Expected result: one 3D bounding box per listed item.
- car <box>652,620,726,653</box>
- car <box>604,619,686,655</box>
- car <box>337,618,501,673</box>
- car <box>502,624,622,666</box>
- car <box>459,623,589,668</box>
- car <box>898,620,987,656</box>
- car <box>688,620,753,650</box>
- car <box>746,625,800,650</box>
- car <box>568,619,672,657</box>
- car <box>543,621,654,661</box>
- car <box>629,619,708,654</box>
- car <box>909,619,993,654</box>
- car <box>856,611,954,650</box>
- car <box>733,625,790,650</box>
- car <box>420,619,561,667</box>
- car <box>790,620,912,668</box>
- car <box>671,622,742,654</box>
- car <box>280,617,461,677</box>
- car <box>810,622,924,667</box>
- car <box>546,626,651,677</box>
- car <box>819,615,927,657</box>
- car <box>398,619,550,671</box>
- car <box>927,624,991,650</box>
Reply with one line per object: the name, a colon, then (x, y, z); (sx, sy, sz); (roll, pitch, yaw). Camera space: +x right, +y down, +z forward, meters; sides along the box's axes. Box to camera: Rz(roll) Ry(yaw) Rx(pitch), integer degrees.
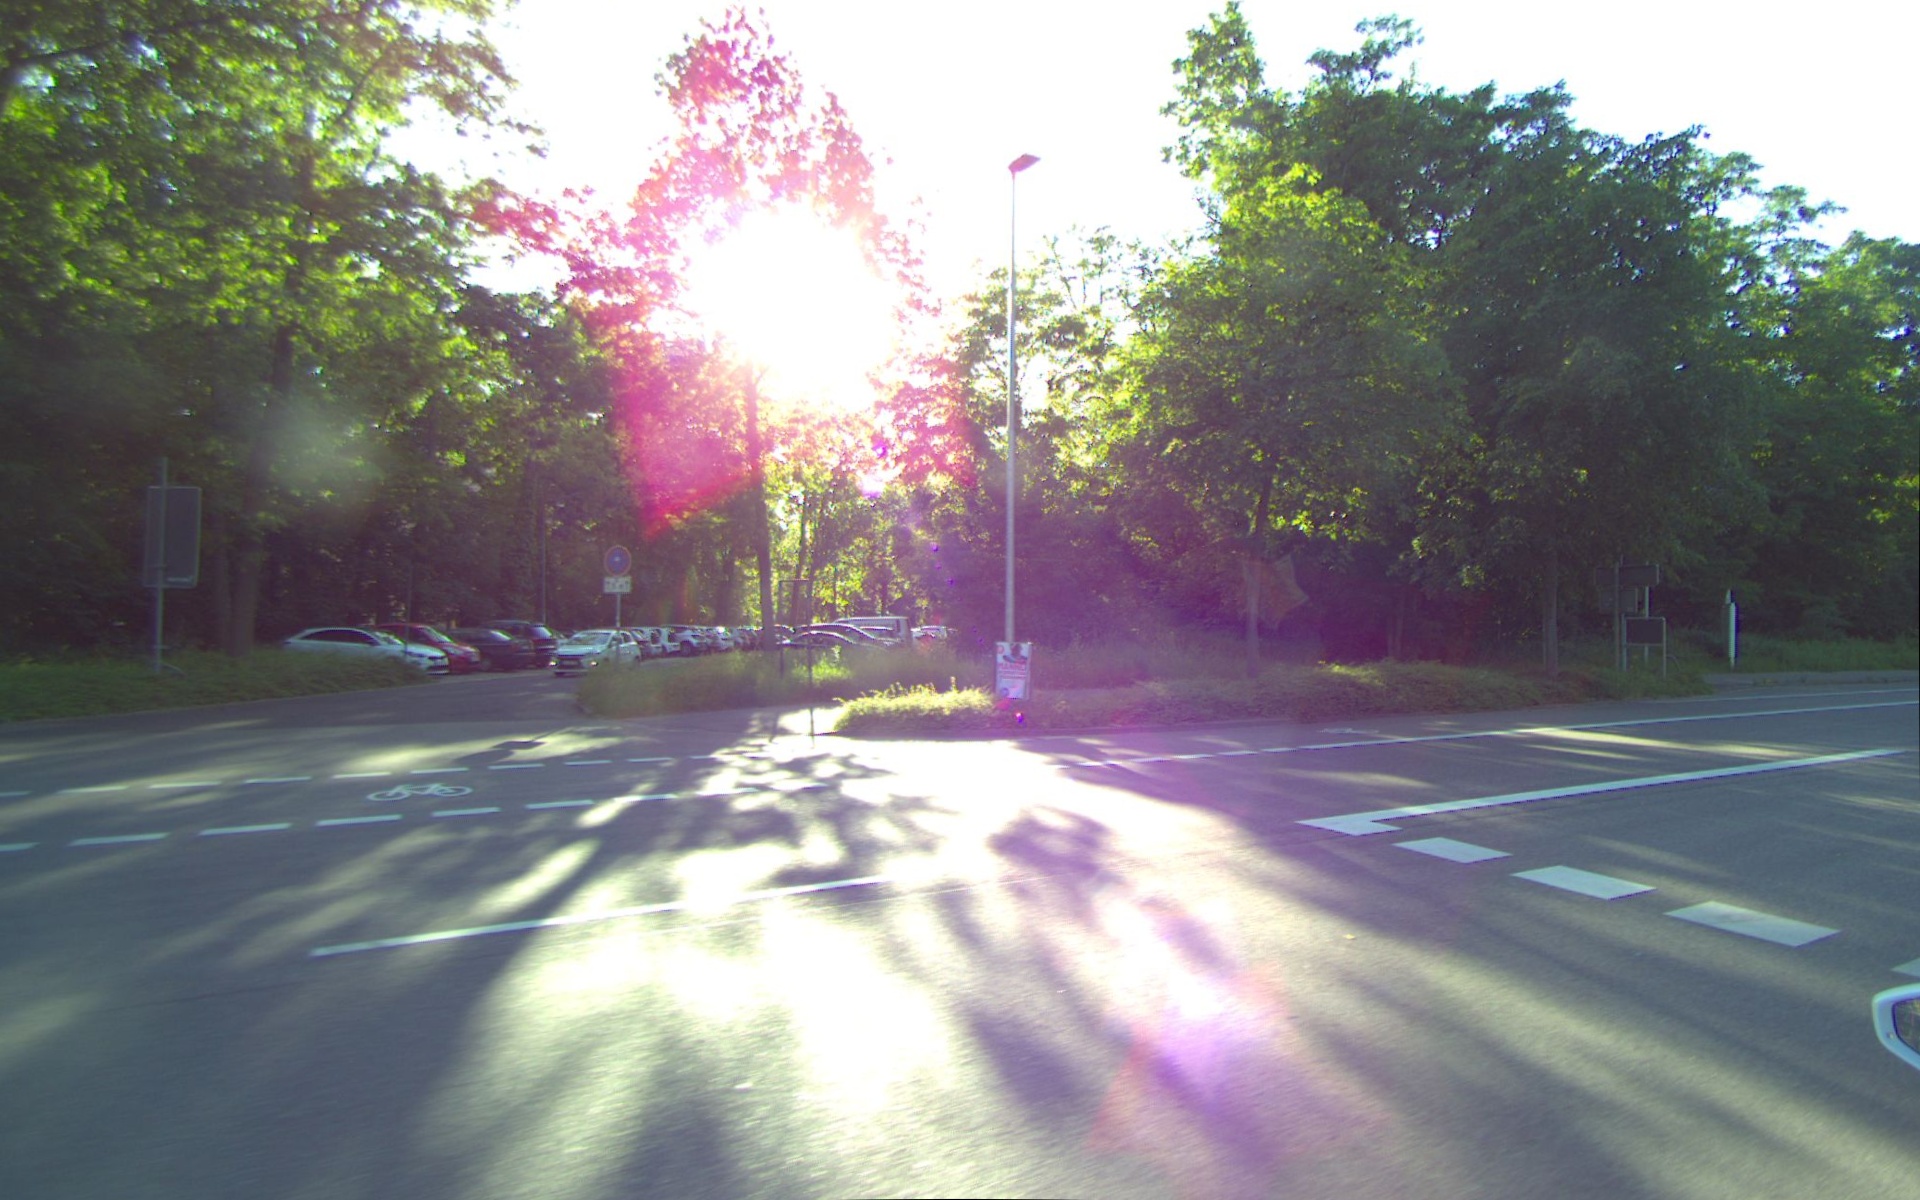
car: (-14.718, 1.978, 54.707); (3.540, 1.751, 1.570); (0, -1, 6)
car: (-15.599, 1.826, 49.844); (3.540, 1.751, 1.570); (0, -1, 6)
car: (-17.116, 1.431, 31.935); (4.206, 1.675, 1.831); (0, -1, 2)
car: (-16.403, 1.872, 41.537); (4.206, 1.674, 1.832); (0, -4, 2)
car: (-16.952, 1.780, 39.195); (4.206, 1.674, 1.832); (0, -4, 2)
car: (-0.815, 1.850, 48.727); (4.206, 1.675, 1.831); (0, -1, 2)
car: (-14.694, 2.132, 61.723); (3.540, 1.751, 1.570); (0, -1, 6)
car: (-13.574, 2.685, 72.966); (3.540, 1.751, 1.570); (0, -1, 6)
car: (-15.988, 1.815, 47.385); (4.206, 1.674, 1.832); (0, -4, 2)
car: (-15.995, 1.841, 44.542); (4.206, 1.674, 1.832); (0, -4, 2)
car: (-15.067, 1.889, 52.024); (3.540, 1.751, 1.570); (0, -1, 6)
car: (-0.412, 1.858, 51.320); (4.206, 1.675, 1.831); (0, -1, 2)
car: (-2.399, 1.355, 44.772); (4.206, 1.675, 1.831); (0, -1, 2)
car: (-13.871, 2.613, 70.309); (3.540, 1.751, 1.570); (0, -1, 6)
car: (-17.090, 1.590, 36.704); (4.206, 1.674, 1.832); (0, -4, 2)
car: (-3.935, 1.598, 36.684); (4.206, 1.675, 1.831); (0, -1, 2)
car: (-14.374, 2.139, 57.003); (3.540, 1.751, 1.570); (0, -1, 6)
car: (-17.155, 1.358, 29.358); (4.206, 1.675, 1.831); (0, -1, 2)
car: (-3.601, 1.726, 39.393); (4.206, 1.675, 1.831); (0, -1, 2)
car: (-11.776, 1.636, 32.980); (1.794, 1.546, 3.946); (0, -1, 3)
car: (-3.540, 1.466, 41.285); (4.206, 1.675, 1.831); (0, -1, 2)
car: (-16.418, 1.551, 34.057); (4.206, 1.674, 1.832); (0, -4, 2)
car: (-0.016, 2.452, 67.434); (4.206, 1.675, 1.831); (0, -1, 2)
